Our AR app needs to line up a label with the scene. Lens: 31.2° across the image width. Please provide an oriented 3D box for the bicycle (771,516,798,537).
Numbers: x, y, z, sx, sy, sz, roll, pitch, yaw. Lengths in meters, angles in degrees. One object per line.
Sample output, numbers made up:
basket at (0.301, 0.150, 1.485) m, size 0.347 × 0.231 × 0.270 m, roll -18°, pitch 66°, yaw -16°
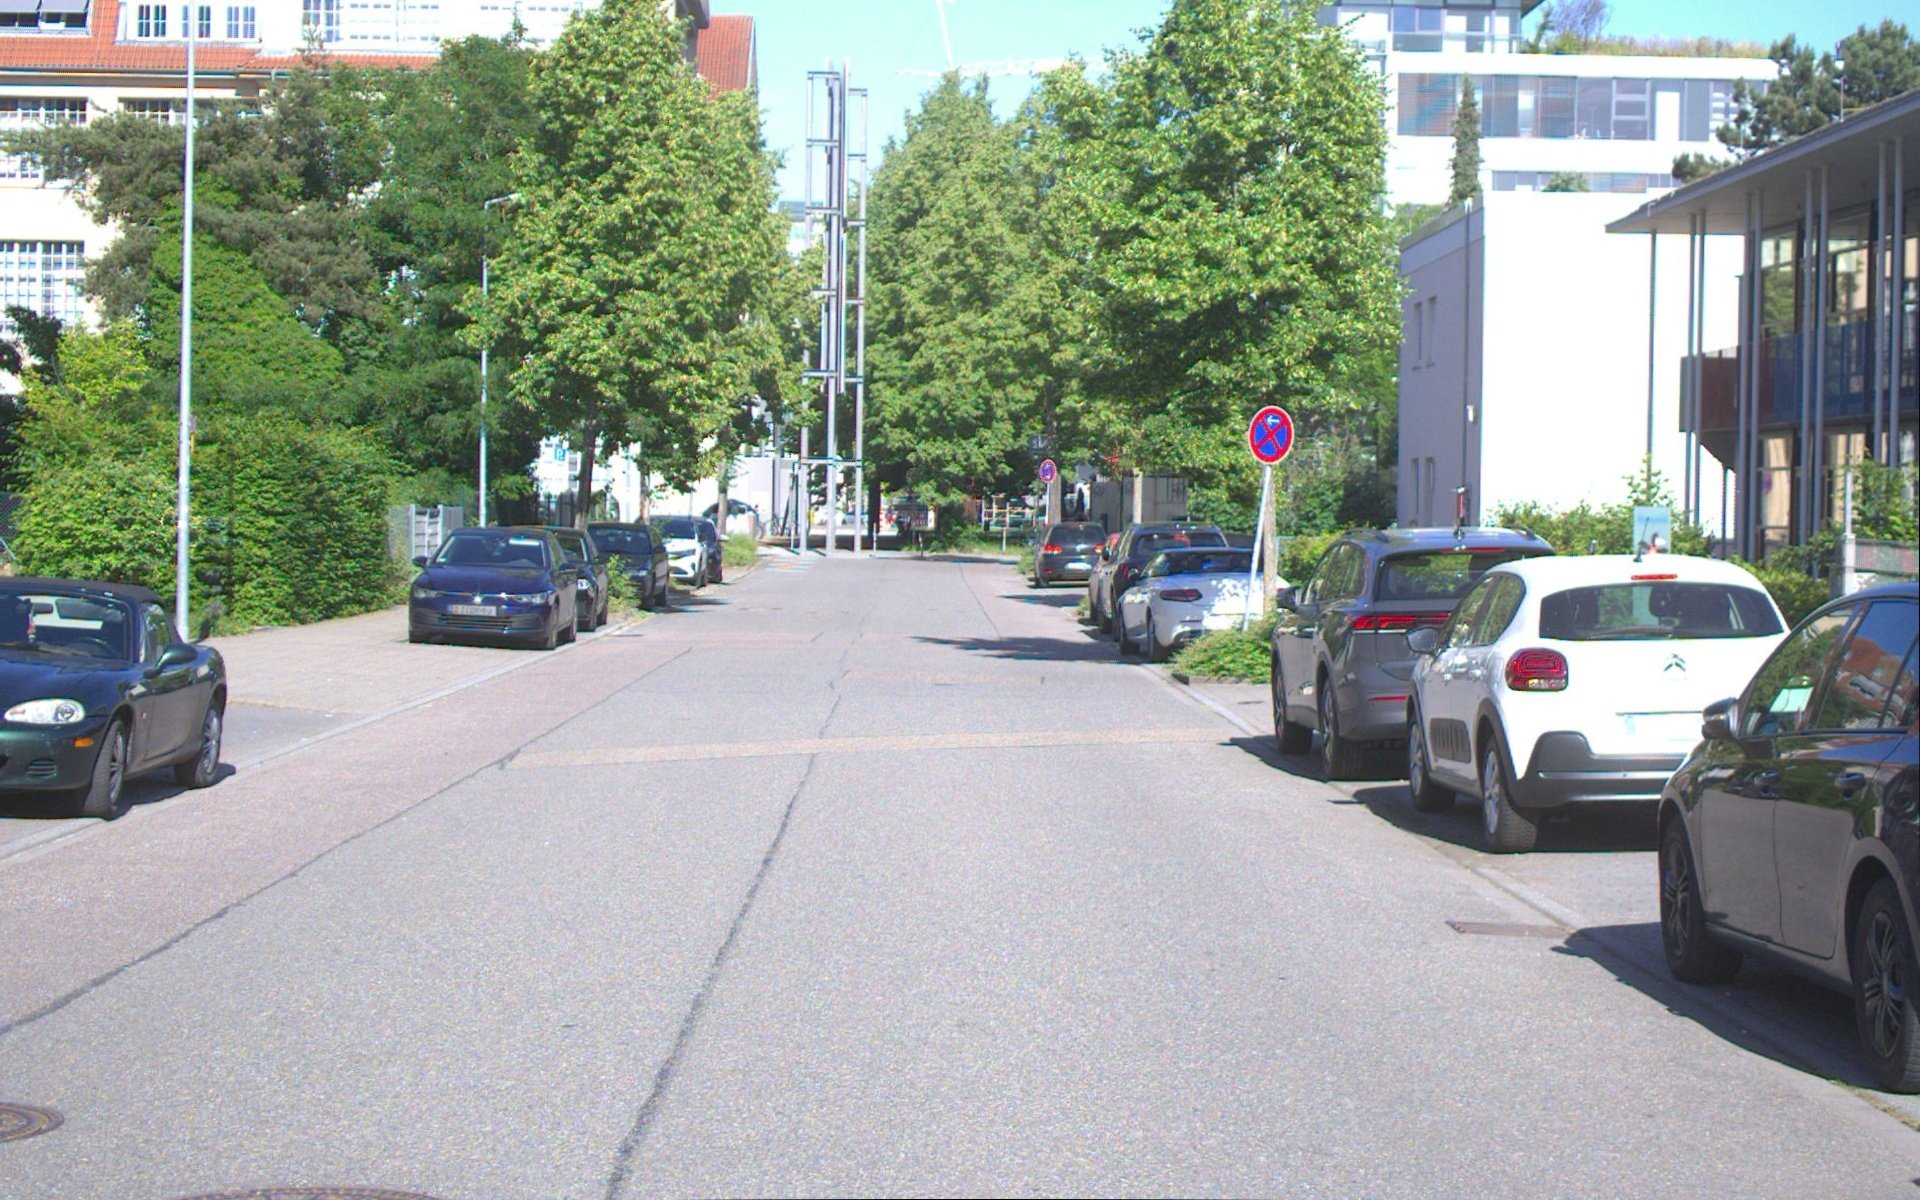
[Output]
bicycle at (-5.959, -2.476, 116.533) m, size 0.373 × 0.681 × 1.080 m, roll 0°, pitch 3°, yaw -37°

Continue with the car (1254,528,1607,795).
car at (3.146, 0.342, 23.796) m, size 1.725 × 1.646 × 4.326 m, roll -1°, pitch 1°, yaw -1°

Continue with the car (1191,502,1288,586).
car at (6.913, -1.385, 85.313) m, size 2.024 × 2.007 × 4.000 m, roll 1°, pitch 1°, yaw -1°

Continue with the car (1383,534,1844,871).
car at (3.421, 0.466, 18.675) m, size 1.679 × 1.536 × 3.849 m, roll 1°, pitch 2°, yaw -1°

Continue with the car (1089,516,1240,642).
car at (2.913, -0.340, 49.808) m, size 1.821 × 1.713 × 4.120 m, roll -1°, pitch 1°, yaw -1°

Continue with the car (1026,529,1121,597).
car at (2.570, -0.870, 78.916) m, size 1.993 × 1.481 × 4.000 m, roll 1°, pitch 1°, yaw -1°

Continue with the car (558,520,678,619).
car at (-5.838, -0.544, 59.025) m, size 1.694 × 1.599 × 3.942 m, roll 1°, pitch 1°, yaw -1°

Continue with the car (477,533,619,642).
car at (-5.914, -0.210, 49.684) m, size 1.630 × 1.496 × 3.578 m, roll 1°, pitch 1°, yaw -1°

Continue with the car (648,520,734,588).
car at (-6.020, -1.046, 77.209) m, size 1.700 × 1.465 × 3.461 m, roll 1°, pitch 1°, yaw -1°

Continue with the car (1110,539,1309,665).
car at (3.007, -0.007, 42.313) m, size 1.829 × 1.417 × 4.234 m, roll -2°, pitch 1°, yaw -4°

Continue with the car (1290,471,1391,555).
car at (9.415, -2.153, 85.379) m, size 1.993 × 2.007 × 4.000 m, roll 1°, pitch 1°, yaw -1°

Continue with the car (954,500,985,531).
car at (0.650, -5.636, 229.116) m, size 1.993 × 2.006 × 4.001 m, roll 1°, pitch 2°, yaw 0°

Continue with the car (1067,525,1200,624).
car at (2.765, -0.431, 55.536) m, size 1.834 × 1.510 × 3.881 m, roll 1°, pitch 1°, yaw -1°

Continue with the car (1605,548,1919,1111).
car at (3.356, 0.607, 11.060) m, size 1.687 × 1.489 × 4.078 m, roll 1°, pitch 0°, yaw -1°

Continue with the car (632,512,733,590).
car at (-5.815, -1.039, 72.331) m, size 1.777 × 1.525 × 4.000 m, roll 3°, pitch 1°, yaw -1°

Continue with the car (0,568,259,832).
car at (-5.209, 0.495, 19.529) m, size 1.599 × 1.213 × 3.875 m, roll 3°, pitch 1°, yaw 0°

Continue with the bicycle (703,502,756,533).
bicycle at (-6.478, -2.326, 96.716) m, size 1.467 × 0.839 × 0.336 m, roll 1°, pitch 2°, yaw -4°

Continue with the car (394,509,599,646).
car at (-5.724, -0.299, 42.901) m, size 1.762 × 1.522 × 4.000 m, roll 4°, pitch 1°, yaw 3°
